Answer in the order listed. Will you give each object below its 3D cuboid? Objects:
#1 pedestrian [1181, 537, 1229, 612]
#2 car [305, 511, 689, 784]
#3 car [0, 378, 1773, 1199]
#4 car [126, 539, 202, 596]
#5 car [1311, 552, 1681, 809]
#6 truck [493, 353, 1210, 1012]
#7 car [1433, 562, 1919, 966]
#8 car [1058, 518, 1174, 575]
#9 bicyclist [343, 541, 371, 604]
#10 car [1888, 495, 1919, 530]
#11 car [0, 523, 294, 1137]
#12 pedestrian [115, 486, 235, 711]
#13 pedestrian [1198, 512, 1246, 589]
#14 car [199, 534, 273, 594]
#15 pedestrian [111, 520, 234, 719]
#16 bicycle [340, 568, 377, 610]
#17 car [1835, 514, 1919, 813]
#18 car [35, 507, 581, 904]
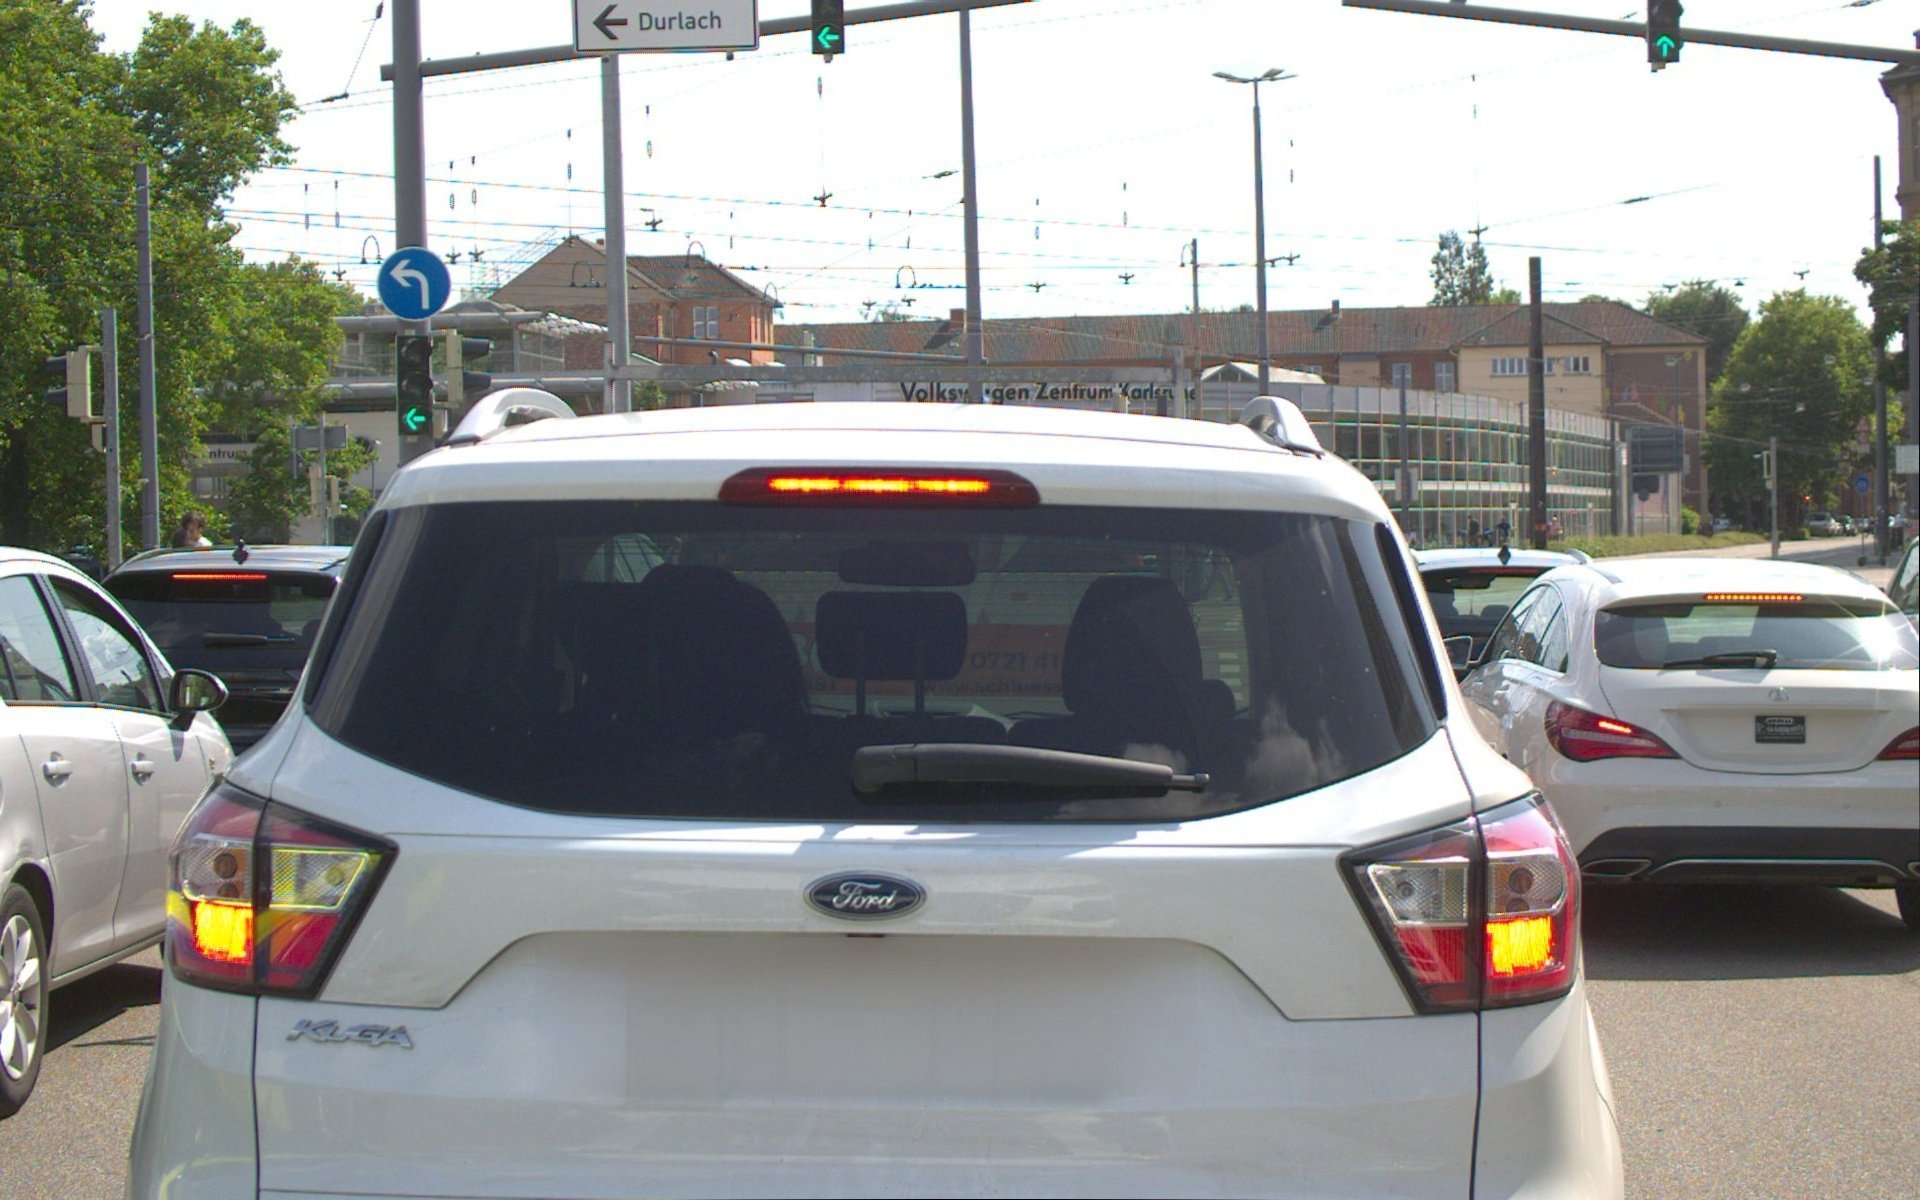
[{"bbox_3d":[5.699,-0.594,79.883,0.924,1.738,0.589,0,0,-36],"label":"pedestrian"},{"bbox_3d":[-2.850,0.236,22.124,2.039,1.573,4.540,0,1,-2],"label":"car"},{"bbox_3d":[-0.017,0.582,5.390,1.827,1.658,3.955,0,1,3],"label":"car"},{"bbox_3d":[-28.668,-1.143,123.897,1.967,1.930,4.231,-3,0,-5],"label":"car"},{"bbox_3d":[3.145,0.417,20.819,1.850,1.414,3.679,0,1,3],"label":"car"},{"bbox_3d":[-0.321,0.216,14.150,2.339,2.148,5.852,0,1,1],"label":"truck"},{"bbox_3d":[3.012,0.561,14.018,1.850,1.414,3.679,0,1,3],"label":"car"},{"bbox_3d":[4.281,-1.468,93.685,1.901,1.456,3.964,-2,1,22],"label":"car"},{"bbox_3d":[-16.806,-0.778,95.834,0.637,1.732,0.662,-1,2,-22],"label":"bicyclist"},{"bbox_3d":[46.759,-4.303,169.131,1.838,1.646,3.996,0,0,20],"label":"car"},{"bbox_3d":[-3.253,0.533,10.071,1.848,1.469,4.000,-1,1,-1],"label":"car"},{"bbox_3d":[-6.820,-0.016,29.910,0.847,1.910,0.692,-1,0,-1],"label":"pedestrian"},{"bbox_3d":[6.027,-1.136,79.165,0.924,1.738,0.589,1,0,-35],"label":"pedestrian"},{"bbox_3d":[-26.009,-1.272,123.640,1.993,2.007,4.231,-3,0,-5],"label":"car"},{"bbox_3d":[-6.653,0.160,29.062,0.847,1.642,0.692,-1,0,-1],"label":"pedestrian"},{"bbox_3d":[-16.752,-0.310,95.741,0.637,1.121,1.785,-1,2,-22],"label":"bicycle"},{"bbox_3d":[6.304,0.340,19.876,1.837,1.646,3.999,0,0,6],"label":"car"},{"bbox_3d":[-2.859,0.379,16.038,1.762,1.563,4.527,-1,1,-1],"label":"car"}]
